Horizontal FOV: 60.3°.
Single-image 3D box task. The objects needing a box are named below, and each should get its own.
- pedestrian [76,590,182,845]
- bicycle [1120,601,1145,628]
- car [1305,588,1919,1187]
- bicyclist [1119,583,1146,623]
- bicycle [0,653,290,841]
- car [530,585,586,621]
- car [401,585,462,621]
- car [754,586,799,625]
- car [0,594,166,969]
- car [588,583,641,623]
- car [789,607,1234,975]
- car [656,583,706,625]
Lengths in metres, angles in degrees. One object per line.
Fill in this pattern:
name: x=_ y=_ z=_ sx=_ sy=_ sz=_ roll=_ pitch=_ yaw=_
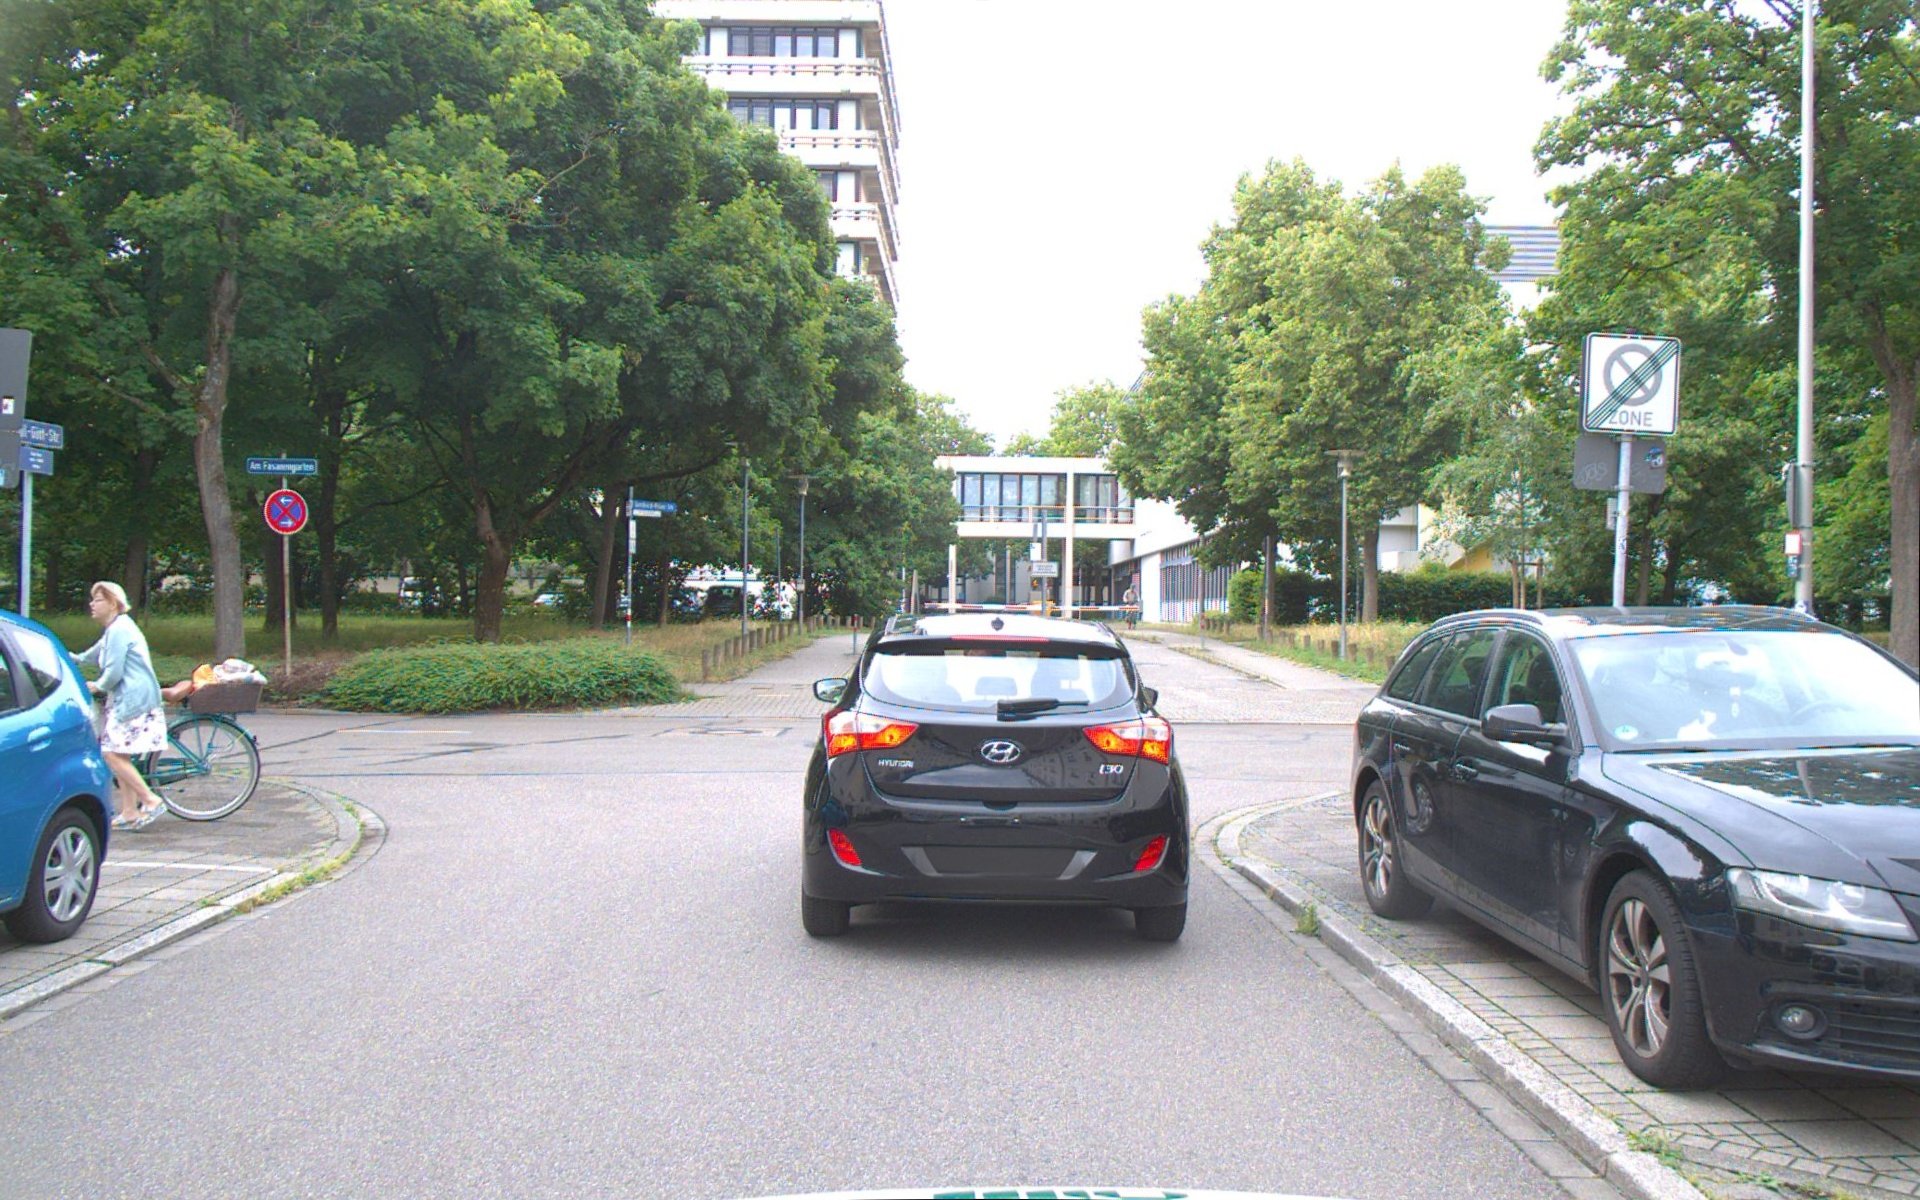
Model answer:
pedestrian: x=-5.304 y=0.726 z=10.553 sx=0.560 sy=1.577 sz=0.443 roll=0 pitch=0 yaw=-33
bicycle: x=7.227 y=0.591 z=69.379 sx=0.849 sy=1.093 sz=2.142 roll=0 pitch=0 yaw=0
car: x=2.872 y=0.707 z=6.538 sx=1.823 sy=1.488 sz=4.723 roll=0 pitch=0 yaw=-3
bicyclist: x=7.232 y=0.121 z=69.378 sx=0.996 sy=1.673 sz=0.923 roll=0 pitch=0 yaw=0
bicycle: x=-5.412 y=0.939 z=10.857 sx=1.794 sy=1.139 sz=0.532 roll=2 pitch=0 yaw=-32
car: x=-18.854 y=0.130 z=77.694 sx=1.954 sy=1.646 sz=3.996 roll=0 pitch=0 yaw=-5
car: x=-24.940 y=0.144 z=78.124 sx=1.880 sy=1.646 sz=3.996 roll=0 pitch=0 yaw=-5
car: x=-8.648 y=0.281 z=78.177 sx=1.954 sy=1.793 sz=3.996 roll=0 pitch=-1 yaw=-5
car: x=-4.707 y=0.717 z=6.053 sx=1.695 sy=1.488 sz=3.956 roll=3 pitch=0 yaw=-1
car: x=-16.187 y=0.166 z=77.667 sx=1.954 sy=1.758 sz=3.995 roll=0 pitch=-2 yaw=-5
car: x=0.123 y=0.801 z=8.675 sx=1.809 sy=1.488 sz=3.825 roll=1 pitch=0 yaw=-3
car: x=-13.149 y=0.214 z=78.044 sx=1.954 sy=1.825 sz=3.995 roll=0 pitch=-2 yaw=-5
